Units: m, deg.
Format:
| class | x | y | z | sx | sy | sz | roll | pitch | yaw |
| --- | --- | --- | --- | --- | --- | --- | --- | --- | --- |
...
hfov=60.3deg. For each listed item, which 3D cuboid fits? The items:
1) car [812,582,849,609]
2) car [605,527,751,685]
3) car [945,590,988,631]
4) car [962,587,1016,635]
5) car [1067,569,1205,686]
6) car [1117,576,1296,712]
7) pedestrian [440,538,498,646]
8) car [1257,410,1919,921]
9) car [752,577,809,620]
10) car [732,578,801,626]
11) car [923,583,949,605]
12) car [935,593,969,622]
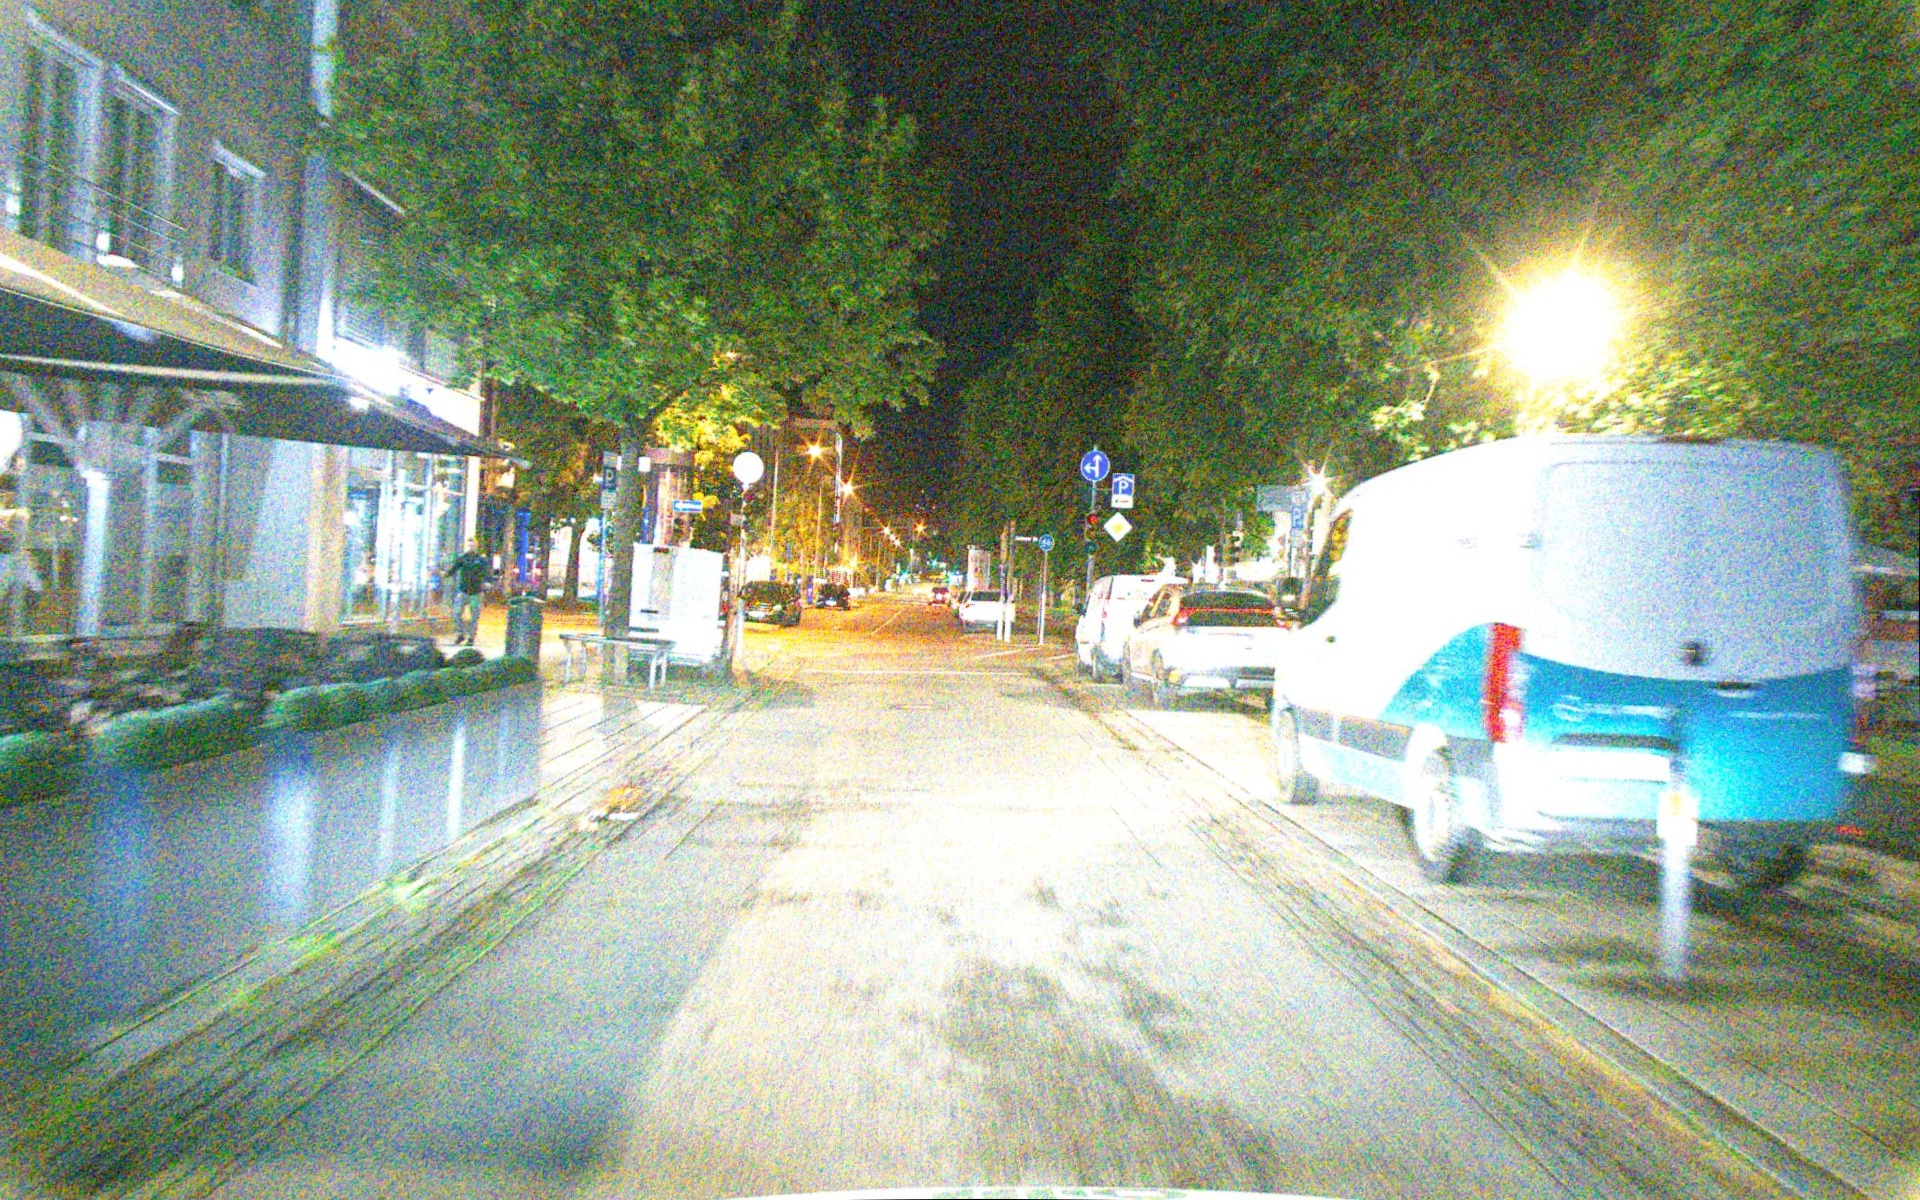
| class | x | y | z | sx | sy | sz | roll | pitch | yaw |
| --- | --- | --- | --- | --- | --- | --- | --- | --- | --- |
| car | -7.442 | -0.267 | 95.134 | 1.706 | 1.438 | 4.495 | 4 | 1 | 0 |
| car | -4.377 | 0.052 | 26.357 | 1.817 | 2.123 | 5.084 | 5 | 0 | -6 |
| car | 0.252 | 0.430 | 69.999 | 1.655 | 1.563 | 4.015 | 4 | 1 | 0 |
| car | 0.944 | 0.351 | 56.666 | 1.734 | 1.563 | 4.216 | 1 | 1 | 0 |
| car | 3.019 | 0.422 | 29.289 | 1.753 | 1.854 | 4.578 | 2 | 1 | -2 |
| car | 3.363 | 0.535 | 23.316 | 1.650 | 1.688 | 4.295 | 2 | 1 | -3 |
| pedestrian | -8.185 | -0.133 | 27.611 | 0.655 | 1.749 | 0.908 | 2 | 0 | -1 |
| car | 3.503 | 0.290 | 10.484 | 2.091 | 2.367 | 5.150 | 2 | 1 | -2 |
| car | -6.782 | -0.086 | 62.780 | 1.687 | 1.453 | 3.976 | 5 | 1 | -1 |
| car | -6.602 | 0.050 | 56.902 | 1.770 | 1.449 | 4.920 | 5 | 1 | -1 |
| car | -1.916 | -0.499 | 130.335 | 1.953 | 1.672 | 3.999 | 2 | 1 | -1 |
| car | -0.425 | 0.378 | 89.064 | 1.728 | 1.439 | 4.807 | 2 | 1 | 0 |
